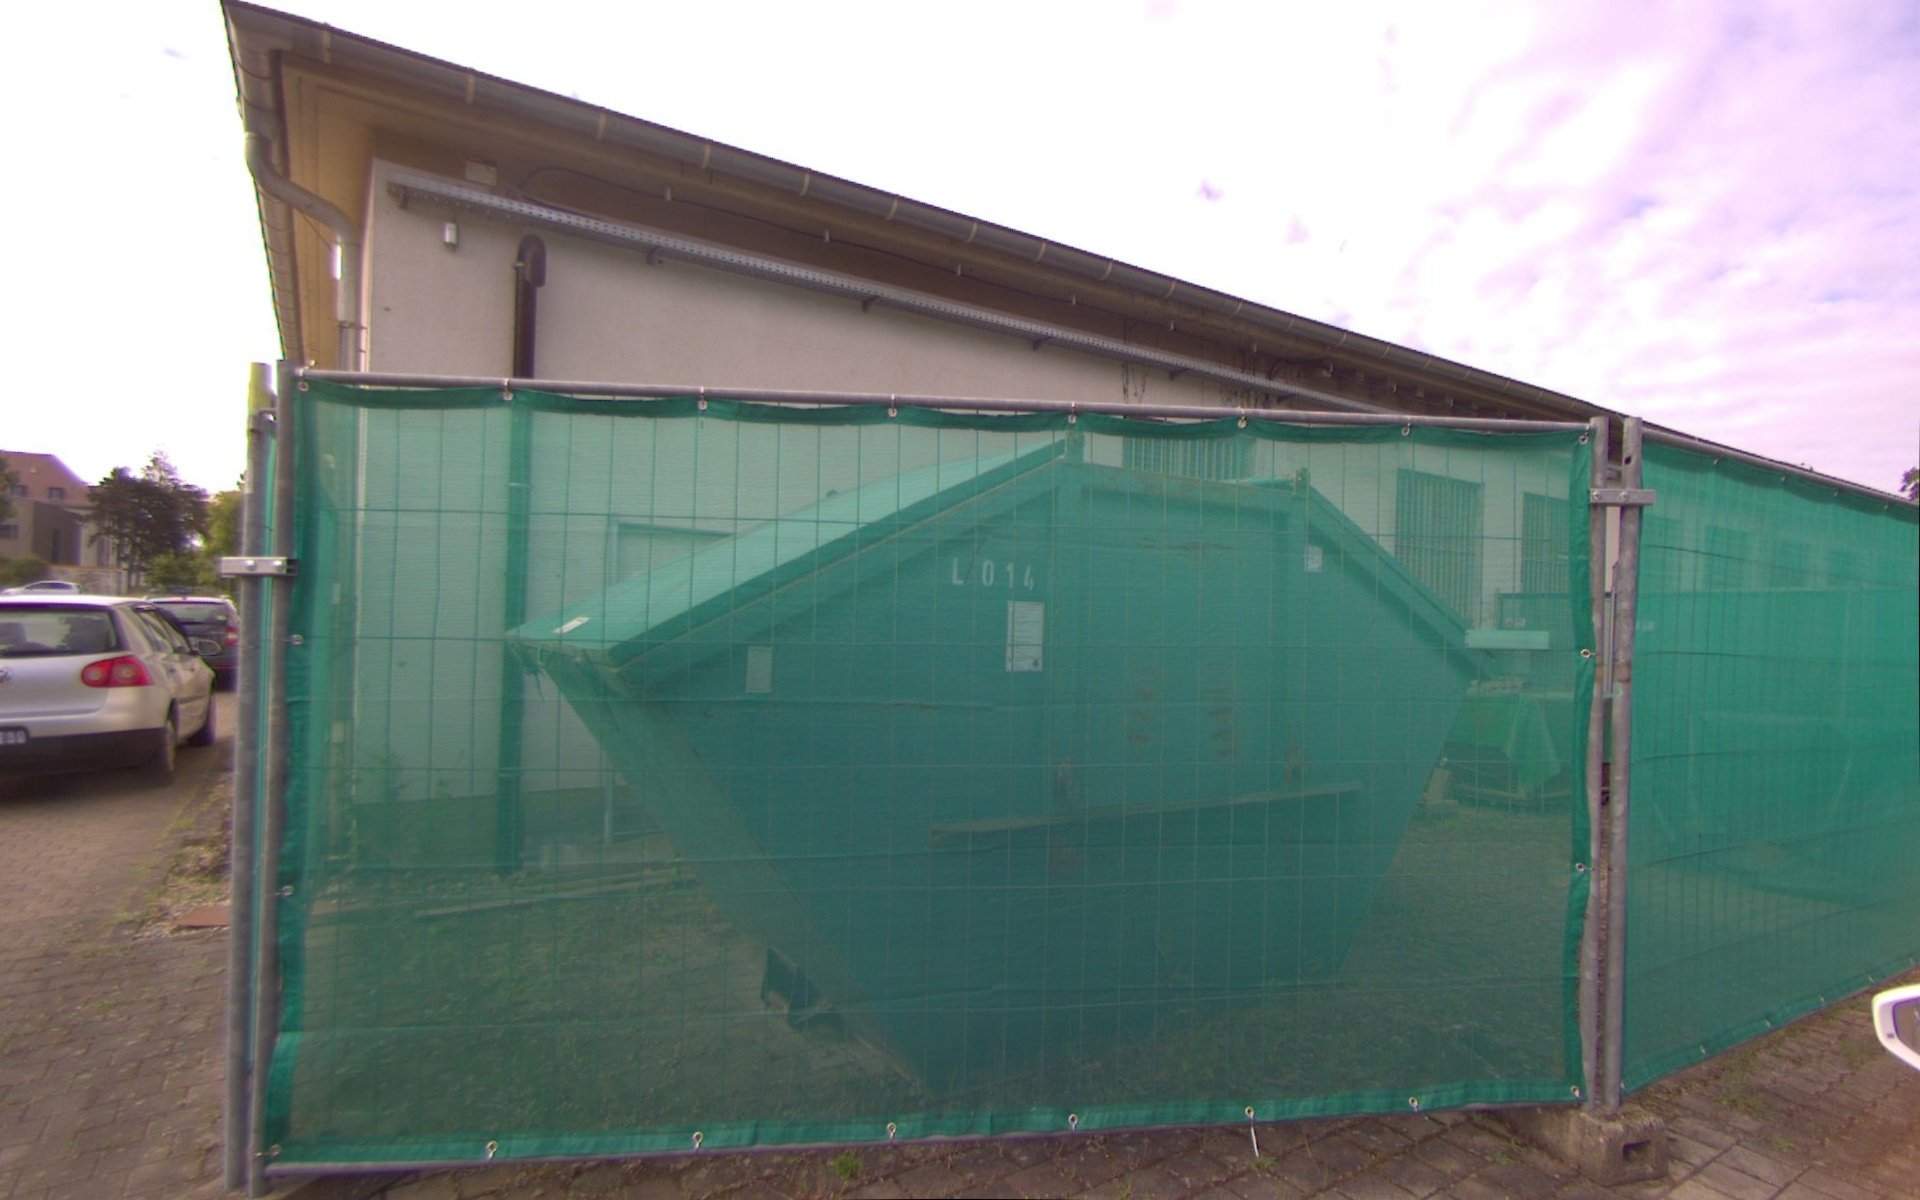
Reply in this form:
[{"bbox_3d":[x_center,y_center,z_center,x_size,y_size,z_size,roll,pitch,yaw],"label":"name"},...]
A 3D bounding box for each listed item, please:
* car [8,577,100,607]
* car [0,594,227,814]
[{"bbox_3d":[-58.331,-0.510,64.740,4.095,1.646,1.920,5,-2,-36],"label":"car"},{"bbox_3d":[-7.606,0.699,8.626,1.911,1.458,4.327,1,0,-34],"label":"car"}]
